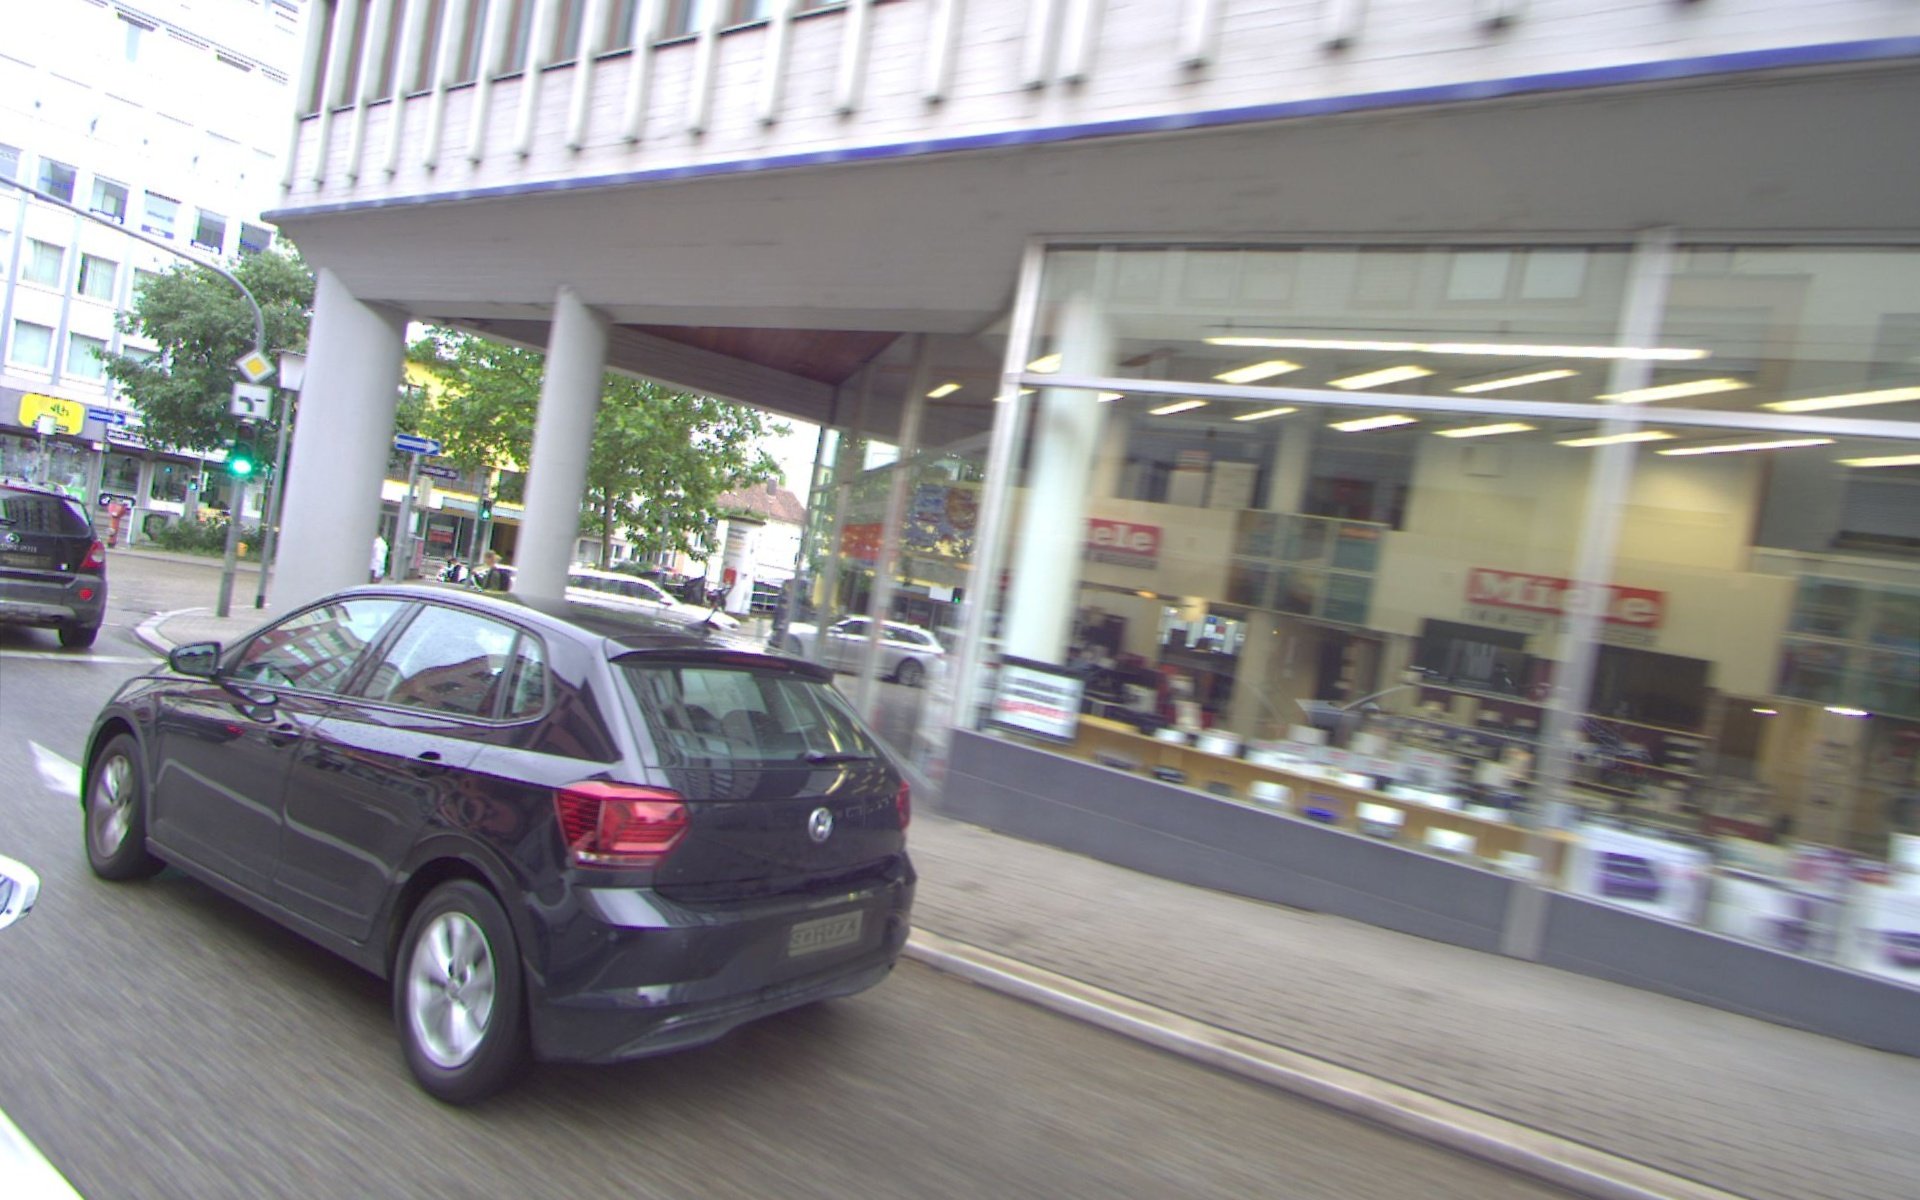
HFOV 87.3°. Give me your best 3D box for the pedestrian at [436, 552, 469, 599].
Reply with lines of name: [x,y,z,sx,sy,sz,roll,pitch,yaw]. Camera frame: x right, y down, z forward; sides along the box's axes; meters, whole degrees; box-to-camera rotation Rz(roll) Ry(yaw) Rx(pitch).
pedestrian: [-19.530,-0.953,38.709,0.671,1.693,0.712,2,-7,44]

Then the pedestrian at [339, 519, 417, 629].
pedestrian: [-10.248,-0.447,17.712,0.815,1.841,0.723,6,1,25]

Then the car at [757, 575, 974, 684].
car: [-2.312,0.730,24.690,4.746,2.021,1.949,8,-1,-25]

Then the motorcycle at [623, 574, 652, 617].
motorcycle: [-10.244,-0.166,32.023,0.620,1.131,1.933,8,3,-15]

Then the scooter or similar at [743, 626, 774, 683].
scooter or similar: [-3.400,0.903,16.936,0.303,0.834,1.122,7,0,-17]

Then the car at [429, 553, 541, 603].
car: [-21.834,-0.985,46.346,4.181,1.430,1.805,11,2,-45]

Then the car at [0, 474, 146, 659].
car: [-11.067,-0.556,11.202,4.436,1.714,1.900,7,-3,36]

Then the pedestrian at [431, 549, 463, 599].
pedestrian: [-20.042,-1.009,39.304,0.671,1.845,0.712,2,-7,44]

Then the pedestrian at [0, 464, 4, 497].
pedestrian: [-39.326,-4.608,40.469,0.817,1.822,1.029,15,5,40]

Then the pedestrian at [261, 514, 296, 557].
pedestrian: [-32.542,-3.077,48.037,0.666,1.845,0.894,7,-4,14]

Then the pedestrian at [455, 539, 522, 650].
pedestrian: [-7.723,-0.090,16.471,0.717,1.711,0.821,5,2,-38]

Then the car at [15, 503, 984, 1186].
car: [-2.100,0.612,4.259,3.934,1.492,1.693,7,-4,32]

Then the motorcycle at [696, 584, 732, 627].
motorcycle: [-7.754,0.157,31.784,0.618,1.132,2.087,8,4,-4]

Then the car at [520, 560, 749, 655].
car: [-7.541,0.189,23.610,4.782,1.512,1.850,8,-1,-18]

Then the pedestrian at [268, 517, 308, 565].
pedestrian: [-28.685,-2.523,42.946,0.876,1.847,0.825,9,-2,30]
